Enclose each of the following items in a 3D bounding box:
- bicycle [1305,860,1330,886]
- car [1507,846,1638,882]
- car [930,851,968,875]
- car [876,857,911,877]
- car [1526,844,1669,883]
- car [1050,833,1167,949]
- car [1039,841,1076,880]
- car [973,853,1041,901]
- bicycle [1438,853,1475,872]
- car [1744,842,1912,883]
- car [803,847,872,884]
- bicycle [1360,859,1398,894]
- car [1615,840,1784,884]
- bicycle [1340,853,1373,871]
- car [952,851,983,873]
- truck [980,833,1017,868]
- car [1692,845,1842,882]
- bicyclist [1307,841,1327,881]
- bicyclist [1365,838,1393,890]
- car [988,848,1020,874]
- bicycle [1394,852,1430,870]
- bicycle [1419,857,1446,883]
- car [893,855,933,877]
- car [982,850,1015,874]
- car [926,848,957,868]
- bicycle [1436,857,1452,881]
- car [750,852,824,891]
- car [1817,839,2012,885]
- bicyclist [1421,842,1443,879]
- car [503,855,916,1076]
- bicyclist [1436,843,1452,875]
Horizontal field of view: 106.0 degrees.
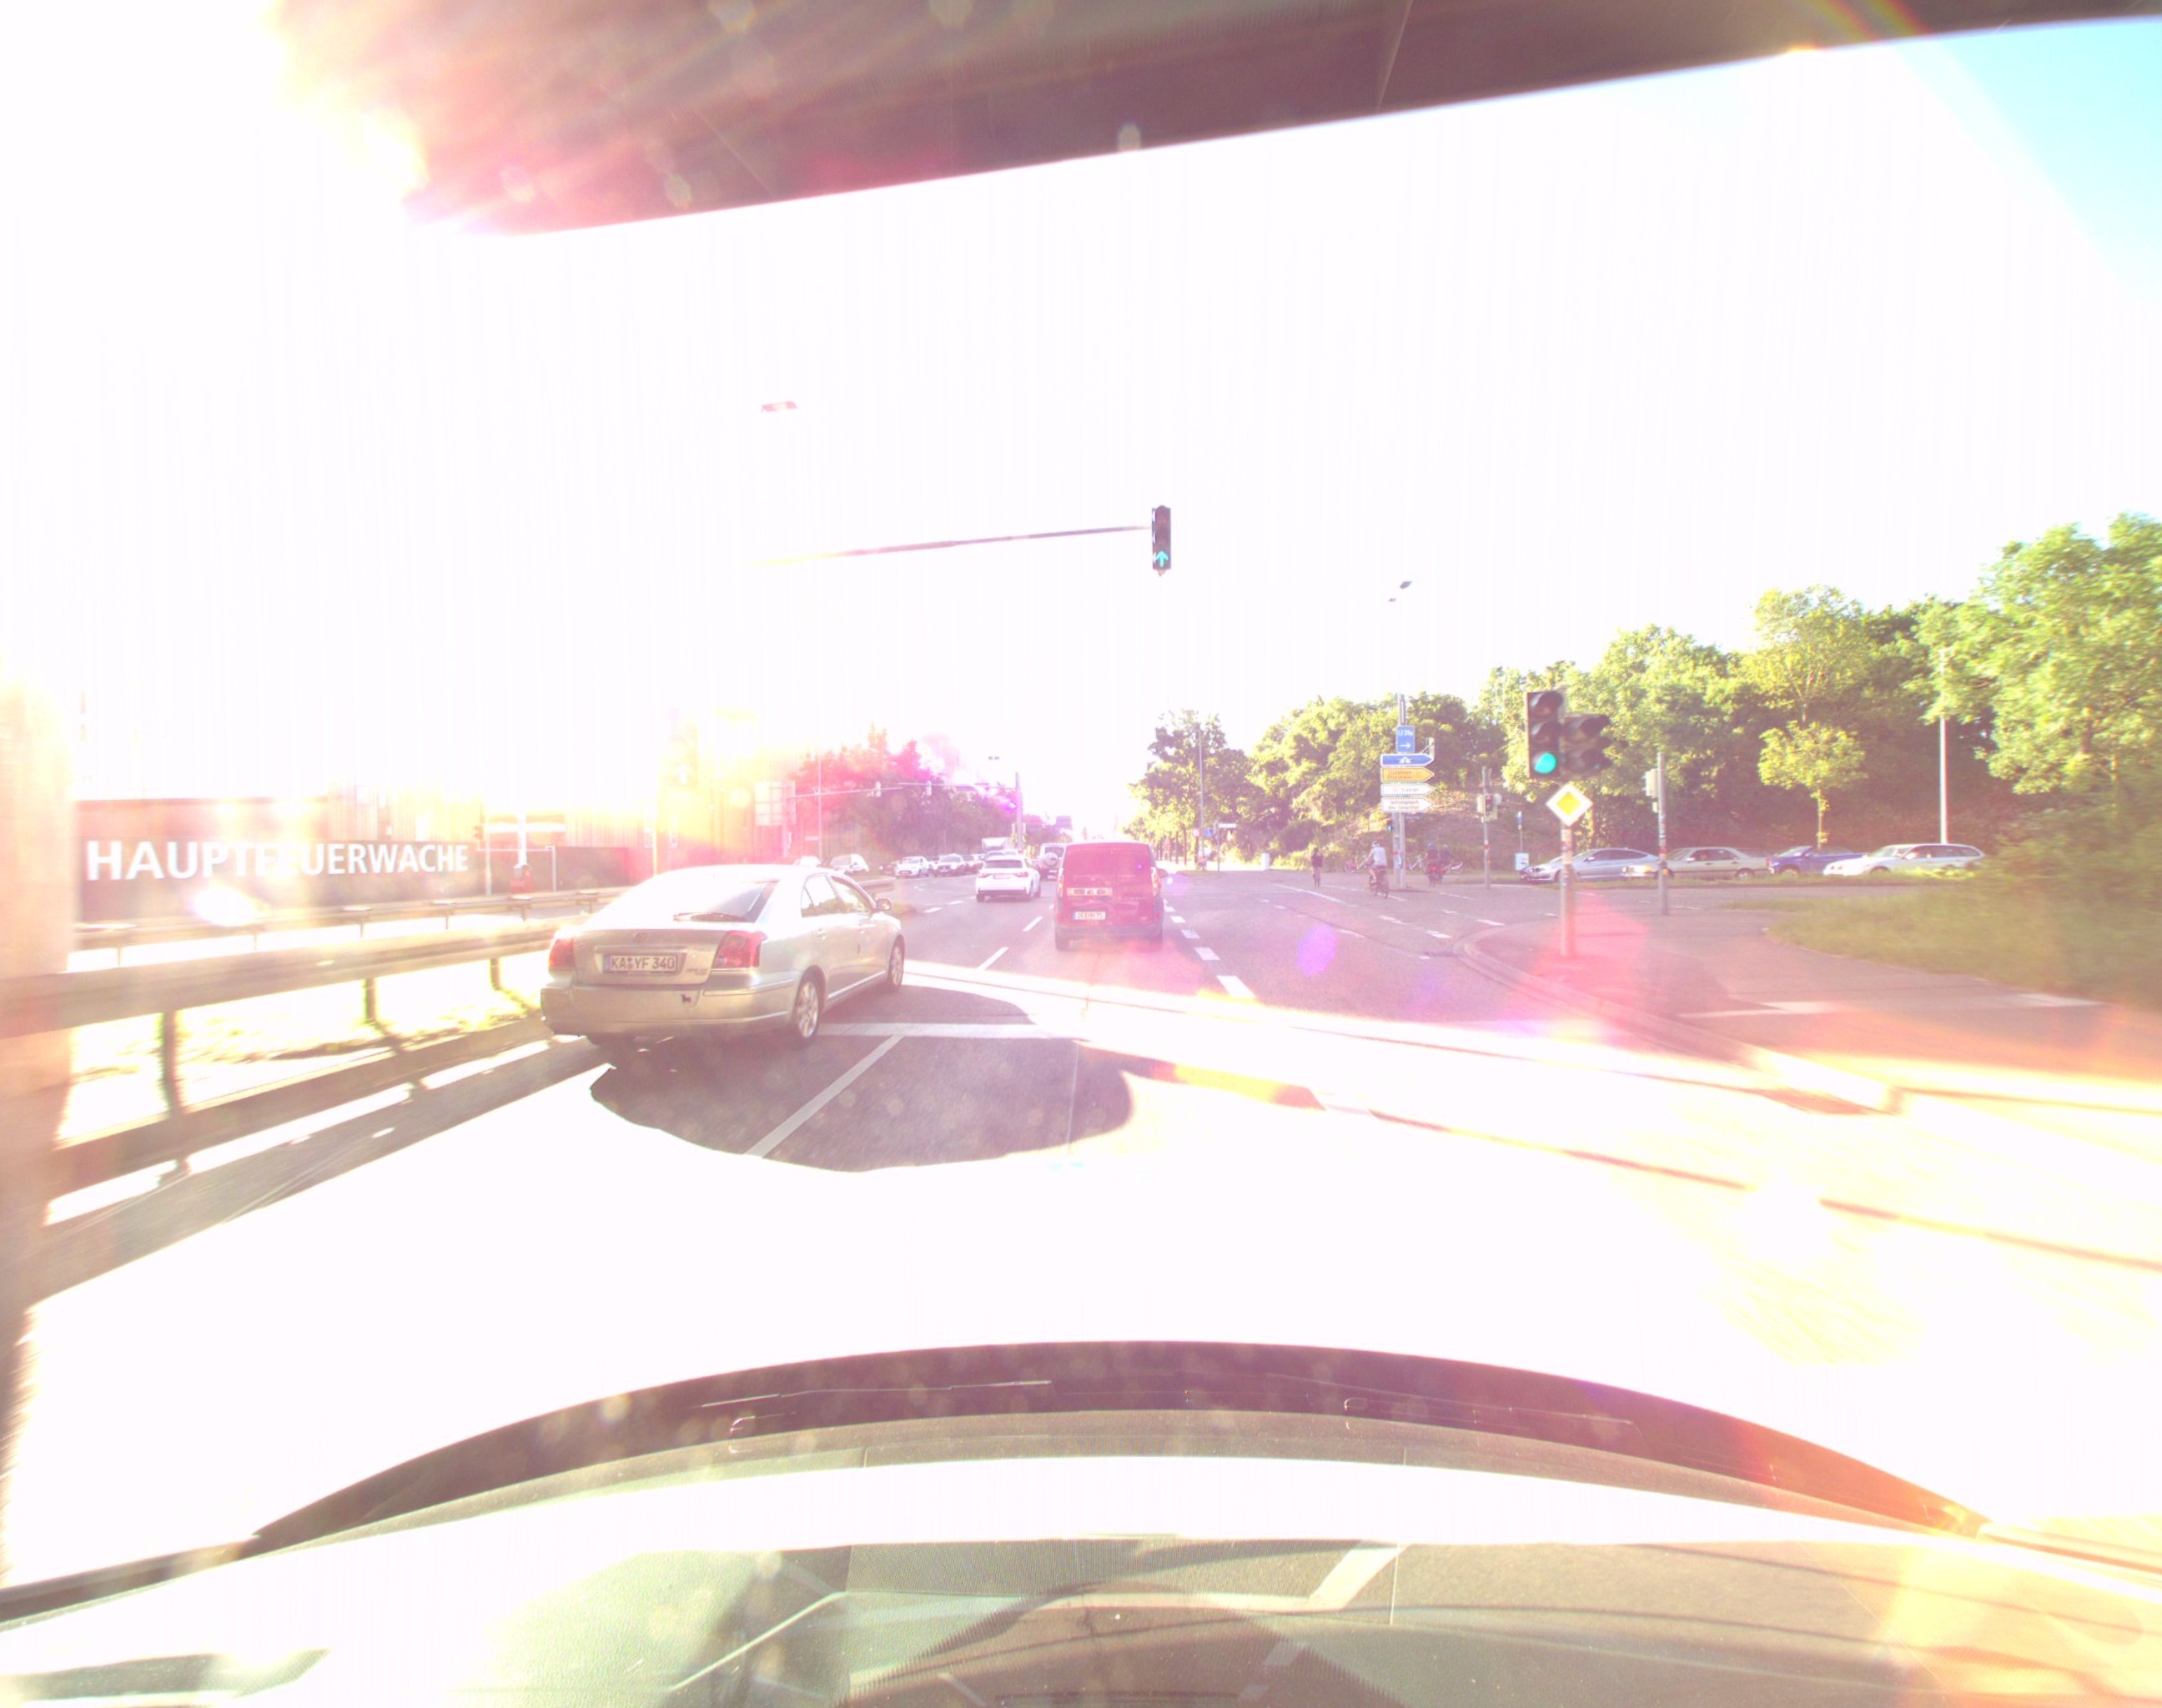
[{"bbox_3d":[9.697,0.791,33.378,0.589,1.023,1.751,0,-1,3],"label":"bicycle"},{"bbox_3d":[21.212,0.451,35.341,4.522,1.514,1.832,0,-1,8],"label":"car"},{"bbox_3d":[-8.843,0.615,54.785,1.630,1.443,4.079,-3,0,2],"label":"car"},{"bbox_3d":[-14.051,0.964,61.263,1.640,1.434,3.493,-3,0,2],"label":"car"},{"bbox_3d":[20.651,0.390,32.732,4.522,1.514,1.832,0,-1,8],"label":"car"},{"bbox_3d":[0.475,0.616,14.541,1.798,1.795,4.000,0,-1,1],"label":"car"},{"bbox_3d":[-1.221,0.380,44.497,1.794,1.989,4.589,0,-1,1],"label":"car"},{"bbox_3d":[-2.312,0.690,26.335,1.807,1.438,3.731,0,0,0],"label":"car"},{"bbox_3d":[20.298,0.447,44.084,1.733,1.023,0.595,0,-2,12],"label":"bicycle"},{"bbox_3d":[28.642,0.355,31.375,4.522,1.514,1.832,0,-1,8],"label":"car"},{"bbox_3d":[-12.041,0.549,40.630,1.817,1.625,4.532,-3,0,2],"label":"car"},{"bbox_3d":[9.094,0.691,24.932,0.589,1.023,1.751,0,-1,3],"label":"bicycle"},{"bbox_3d":[22.064,0.298,29.221,4.522,1.514,1.832,0,-1,8],"label":"car"},{"bbox_3d":[15.793,0.464,46.719,1.734,1.023,0.595,0,-2,10],"label":"bicycle"},{"bbox_3d":[-8.357,0.580,60.399,1.630,1.443,4.076,-3,0,0],"label":"car"},{"bbox_3d":[-7.646,-0.306,76.217,2.400,3.026,6.660,-3,0,2],"label":"truck"},{"bbox_3d":[28.764,0.423,34.281,4.522,1.514,1.832,0,-1,8],"label":"car"},{"bbox_3d":[9.682,0.290,33.387,0.589,1.614,0.943,0,-2,2],"label":"bicyclist"},{"bbox_3d":[9.059,0.317,24.813,0.589,1.548,0.769,0,-2,2],"label":"bicyclist"},{"bbox_3d":[-5.814,0.504,61.908,1.750,1.796,4.085,-3,0,2],"label":"car"},{"bbox_3d":[18.351,0.390,45.174,1.734,1.023,0.595,0,-2,10],"label":"bicycle"},{"bbox_3d":[14.200,0.652,32.945,0.667,1.023,2.063,0,-1,13],"label":"bicycle"},{"bbox_3d":[-11.594,0.799,56.374,1.639,1.404,3.981,-3,0,3],"label":"car"},{"bbox_3d":[-5.505,0.531,54.847,1.630,1.443,3.720,-3,0,2],"label":"car"},{"bbox_3d":[-11.611,0.326,67.910,1.640,1.545,4.400,-3,0,2],"label":"car"},{"bbox_3d":[16.643,0.673,37.301,0.661,1.023,1.760,-1,0,24],"label":"bicycle"},{"bbox_3d":[-14.778,0.852,41.254,1.817,1.737,4.631,-3,0,2],"label":"car"},{"bbox_3d":[28.703,0.280,28.193,4.522,1.514,1.832,0,-1,8],"label":"car"},{"bbox_3d":[14.190,0.253,32.940,0.660,1.474,0.754,0,-2,13],"label":"bicyclist"},{"bbox_3d":[-2.965,0.791,7.677,1.726,1.480,4.321,-1,-1,3],"label":"car"},{"bbox_3d":[16.638,0.227,37.310,0.643,1.481,0.622,-1,0,25],"label":"bicyclist"}]
